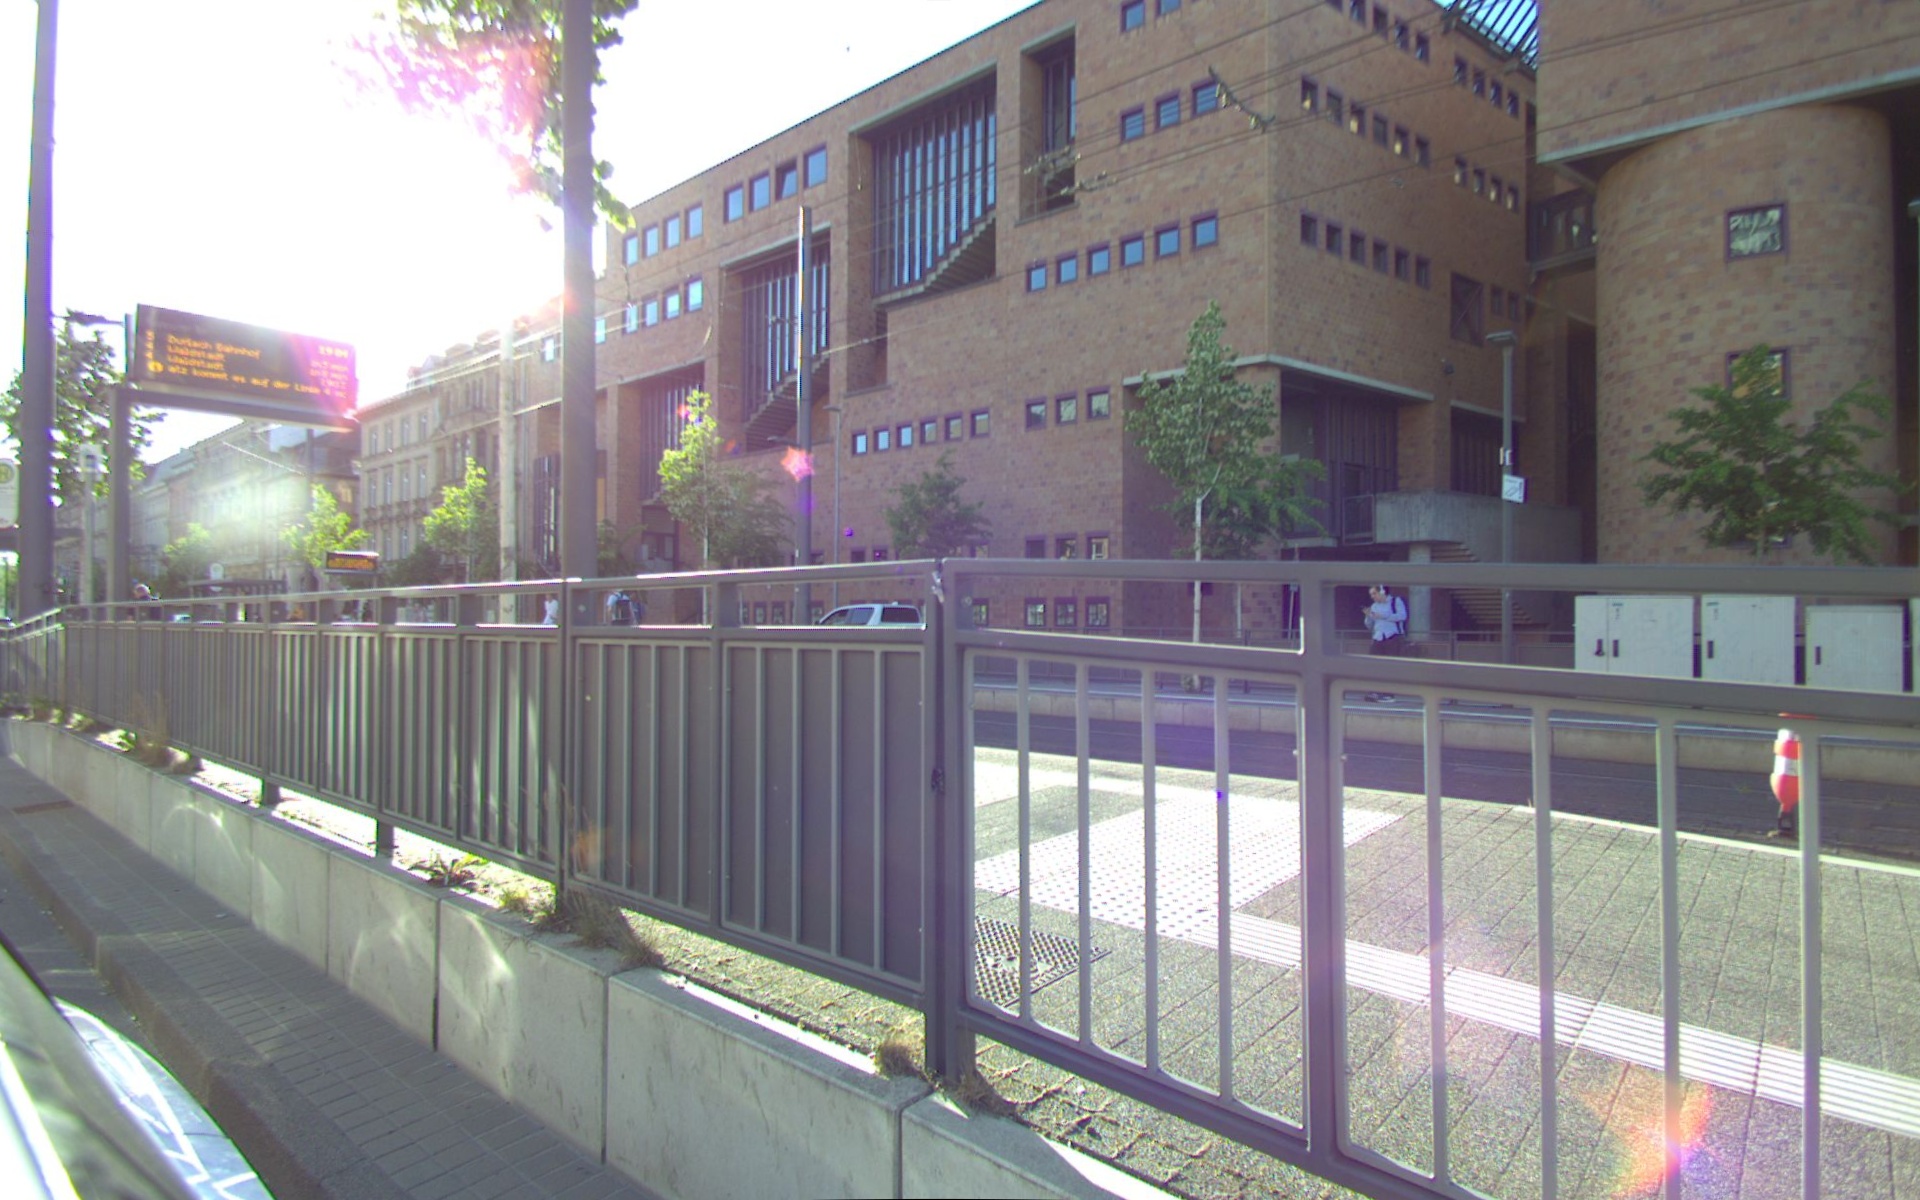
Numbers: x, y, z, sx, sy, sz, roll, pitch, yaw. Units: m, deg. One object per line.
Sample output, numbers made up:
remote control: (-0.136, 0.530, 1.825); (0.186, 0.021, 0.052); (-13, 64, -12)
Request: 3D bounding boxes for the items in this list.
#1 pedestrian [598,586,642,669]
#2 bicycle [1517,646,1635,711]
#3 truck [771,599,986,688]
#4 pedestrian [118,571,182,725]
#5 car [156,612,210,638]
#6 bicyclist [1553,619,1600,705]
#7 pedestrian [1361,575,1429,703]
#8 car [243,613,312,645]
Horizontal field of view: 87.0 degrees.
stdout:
pedestrian: (-7.541, 0.594, 22.465); (0.668, 1.821, 0.677); (0, 0, 40)
bicycle: (11.378, 1.435, 18.735); (1.814, 1.098, 0.455); (0, -3, 42)
truck: (-2.017, 1.020, 23.868); (5.151, 1.894, 1.973); (-2, -4, 40)
pedestrian: (-13.256, 0.763, 16.560); (0.625, 2.461, 0.676); (0, 0, 38)
car: (-49.202, 1.546, 64.046); (4.238, 1.580, 1.806); (0, -2, 40)
bicyclist: (11.447, 1.132, 18.792); (0.650, 1.545, 0.580); (0, 0, 41)
pedestrian: (5.786, 0.495, 13.452); (0.684, 1.647, 0.660); (0, 0, 37)
car: (-35.810, 1.484, 53.046); (4.691, 1.580, 1.806); (0, -2, 40)
